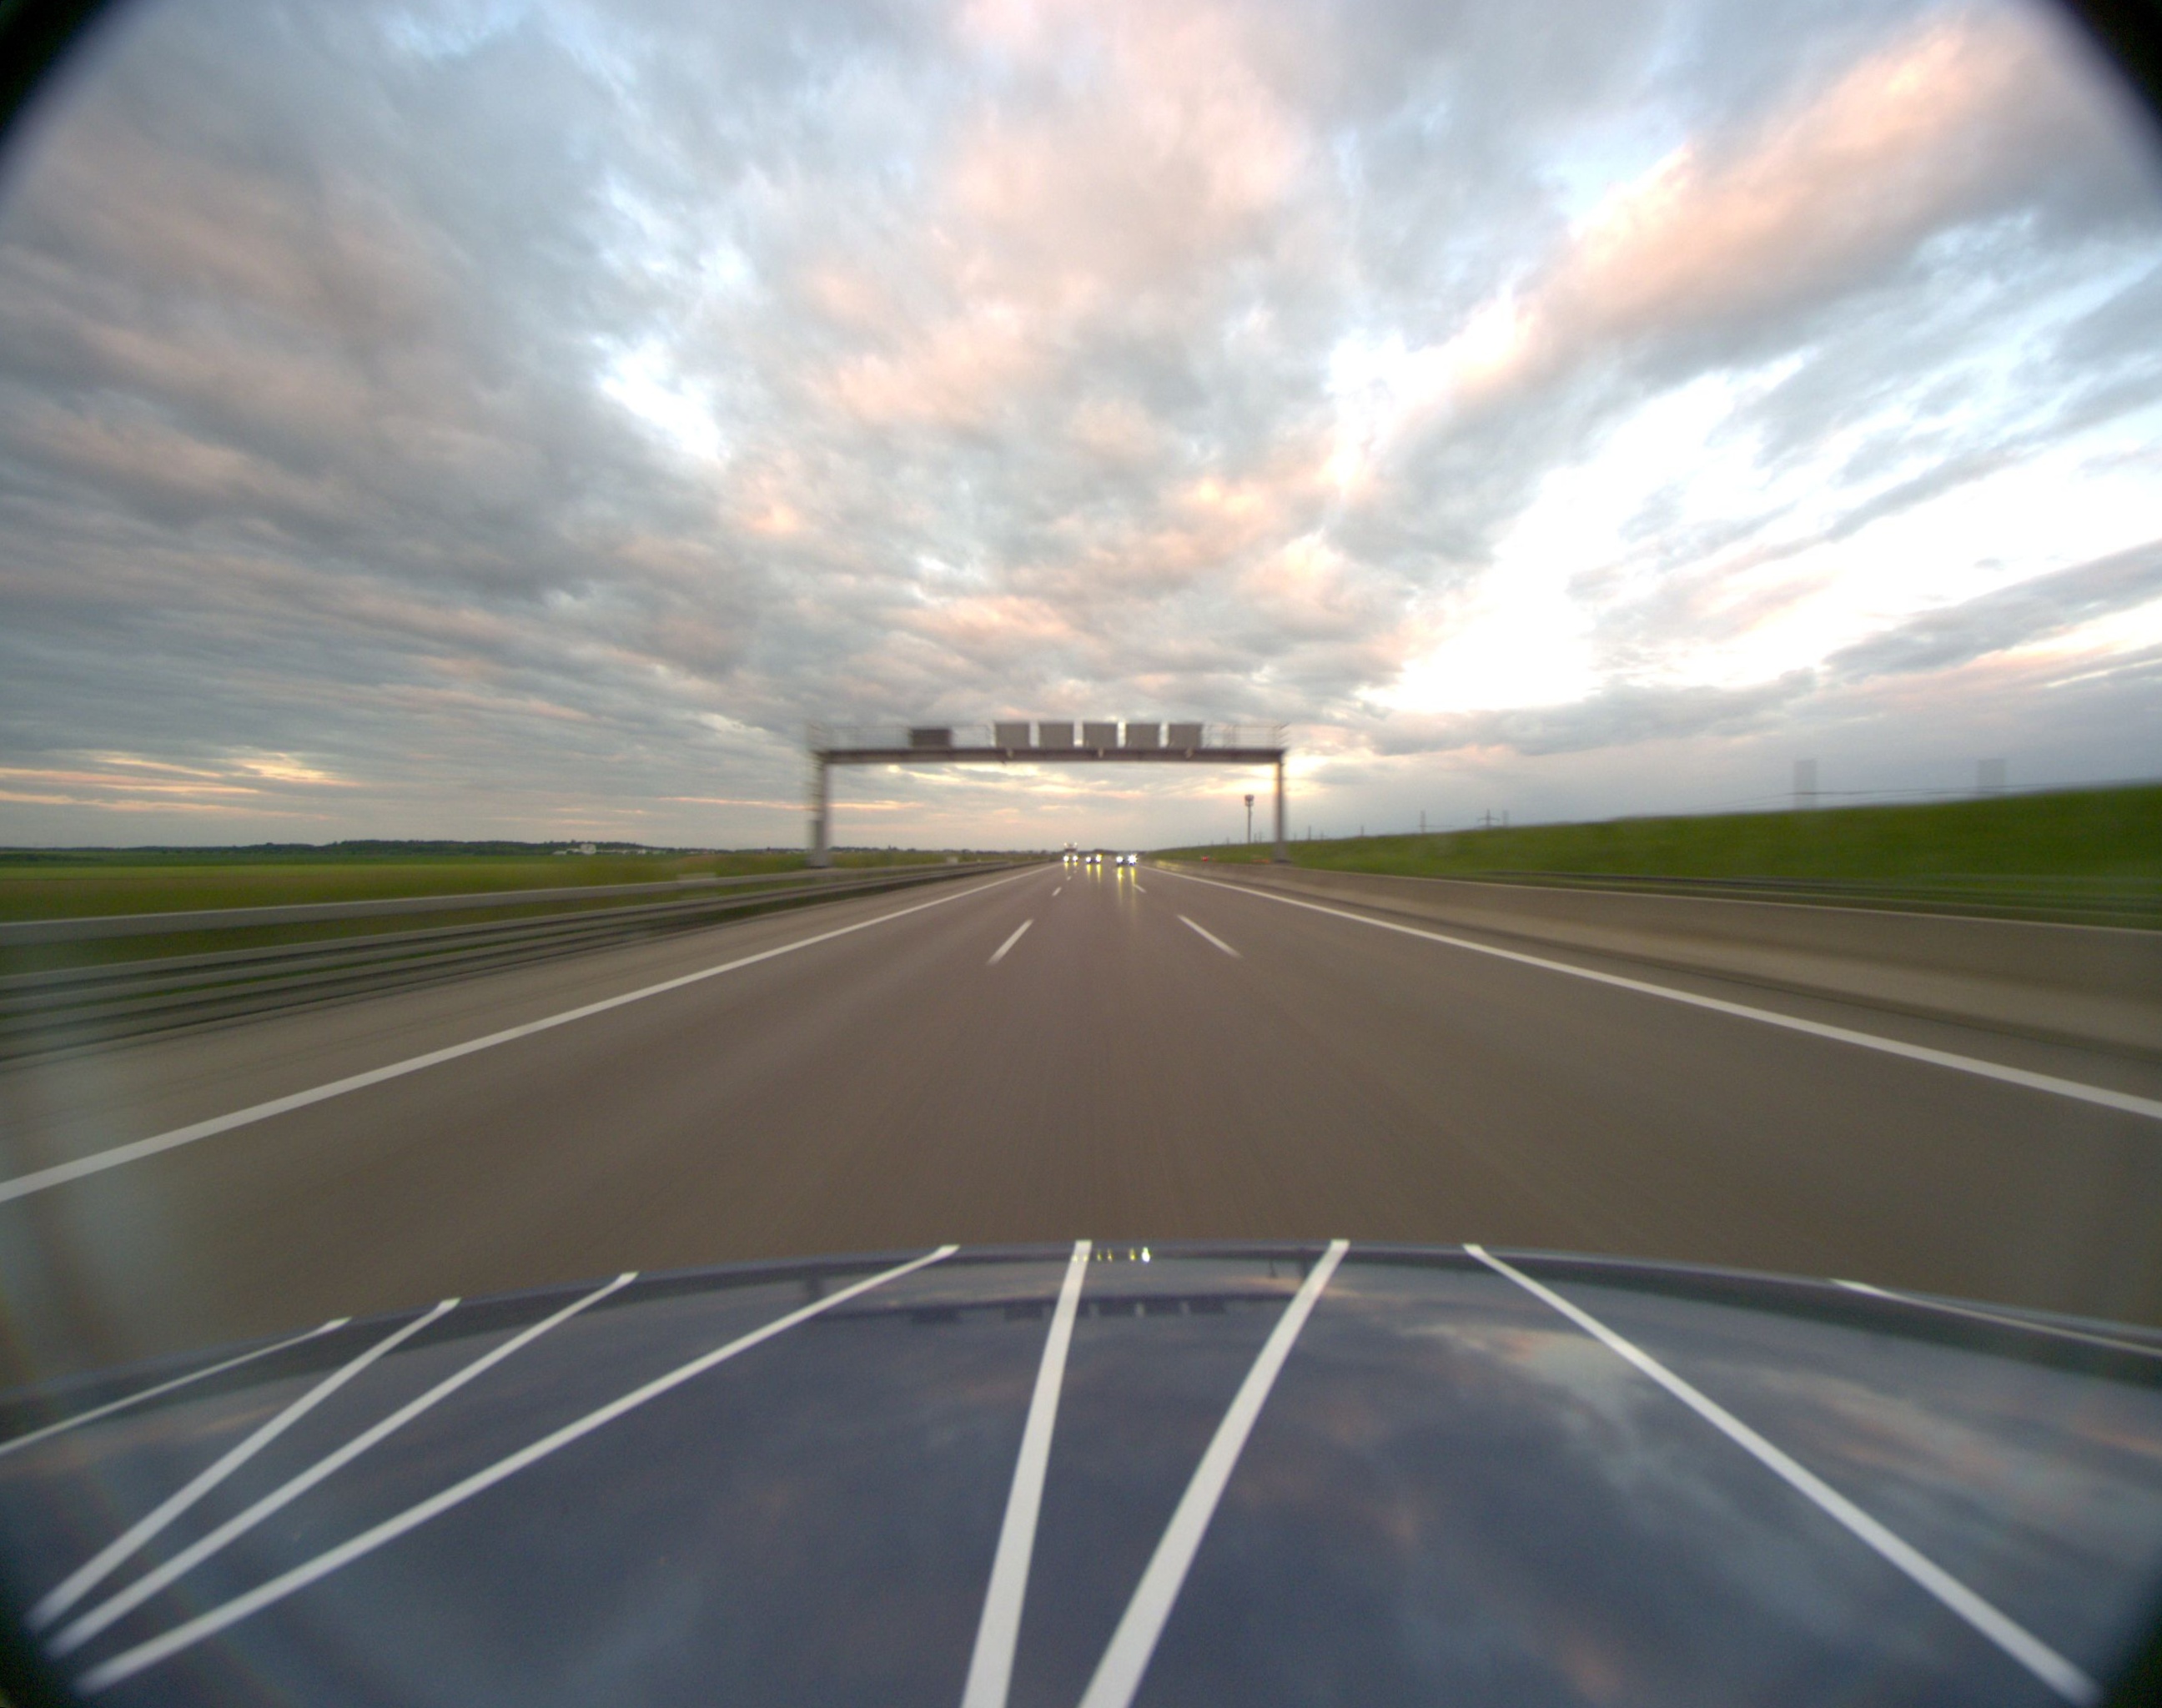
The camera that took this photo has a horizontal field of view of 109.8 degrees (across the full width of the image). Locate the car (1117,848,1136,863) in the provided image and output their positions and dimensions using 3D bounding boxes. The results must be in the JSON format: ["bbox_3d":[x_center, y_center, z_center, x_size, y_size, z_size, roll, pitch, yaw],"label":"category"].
[{"bbox_3d":[5.415,0.155,90.409,1.998,1.652,4.000,-2,1,1],"label":"car"}]

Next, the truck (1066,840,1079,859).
[{"bbox_3d":[-1.895,-0.998,173.924,2.596,3.999,12.985,-1,0,1],"label":"truck"}]

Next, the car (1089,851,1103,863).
[{"bbox_3d":[2.233,0.389,114.814,1.998,1.652,4.851,-2,1,1],"label":"car"}]

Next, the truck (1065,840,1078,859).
[{"bbox_3d":[-1.988,-0.944,167.331,2.597,3.999,5.859,-1,0,1],"label":"truck"}]

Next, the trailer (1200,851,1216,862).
[{"bbox_3d":[17.287,0.312,103.595,1.689,1.543,3.929,-1,0,1],"label":"trailer"}]
